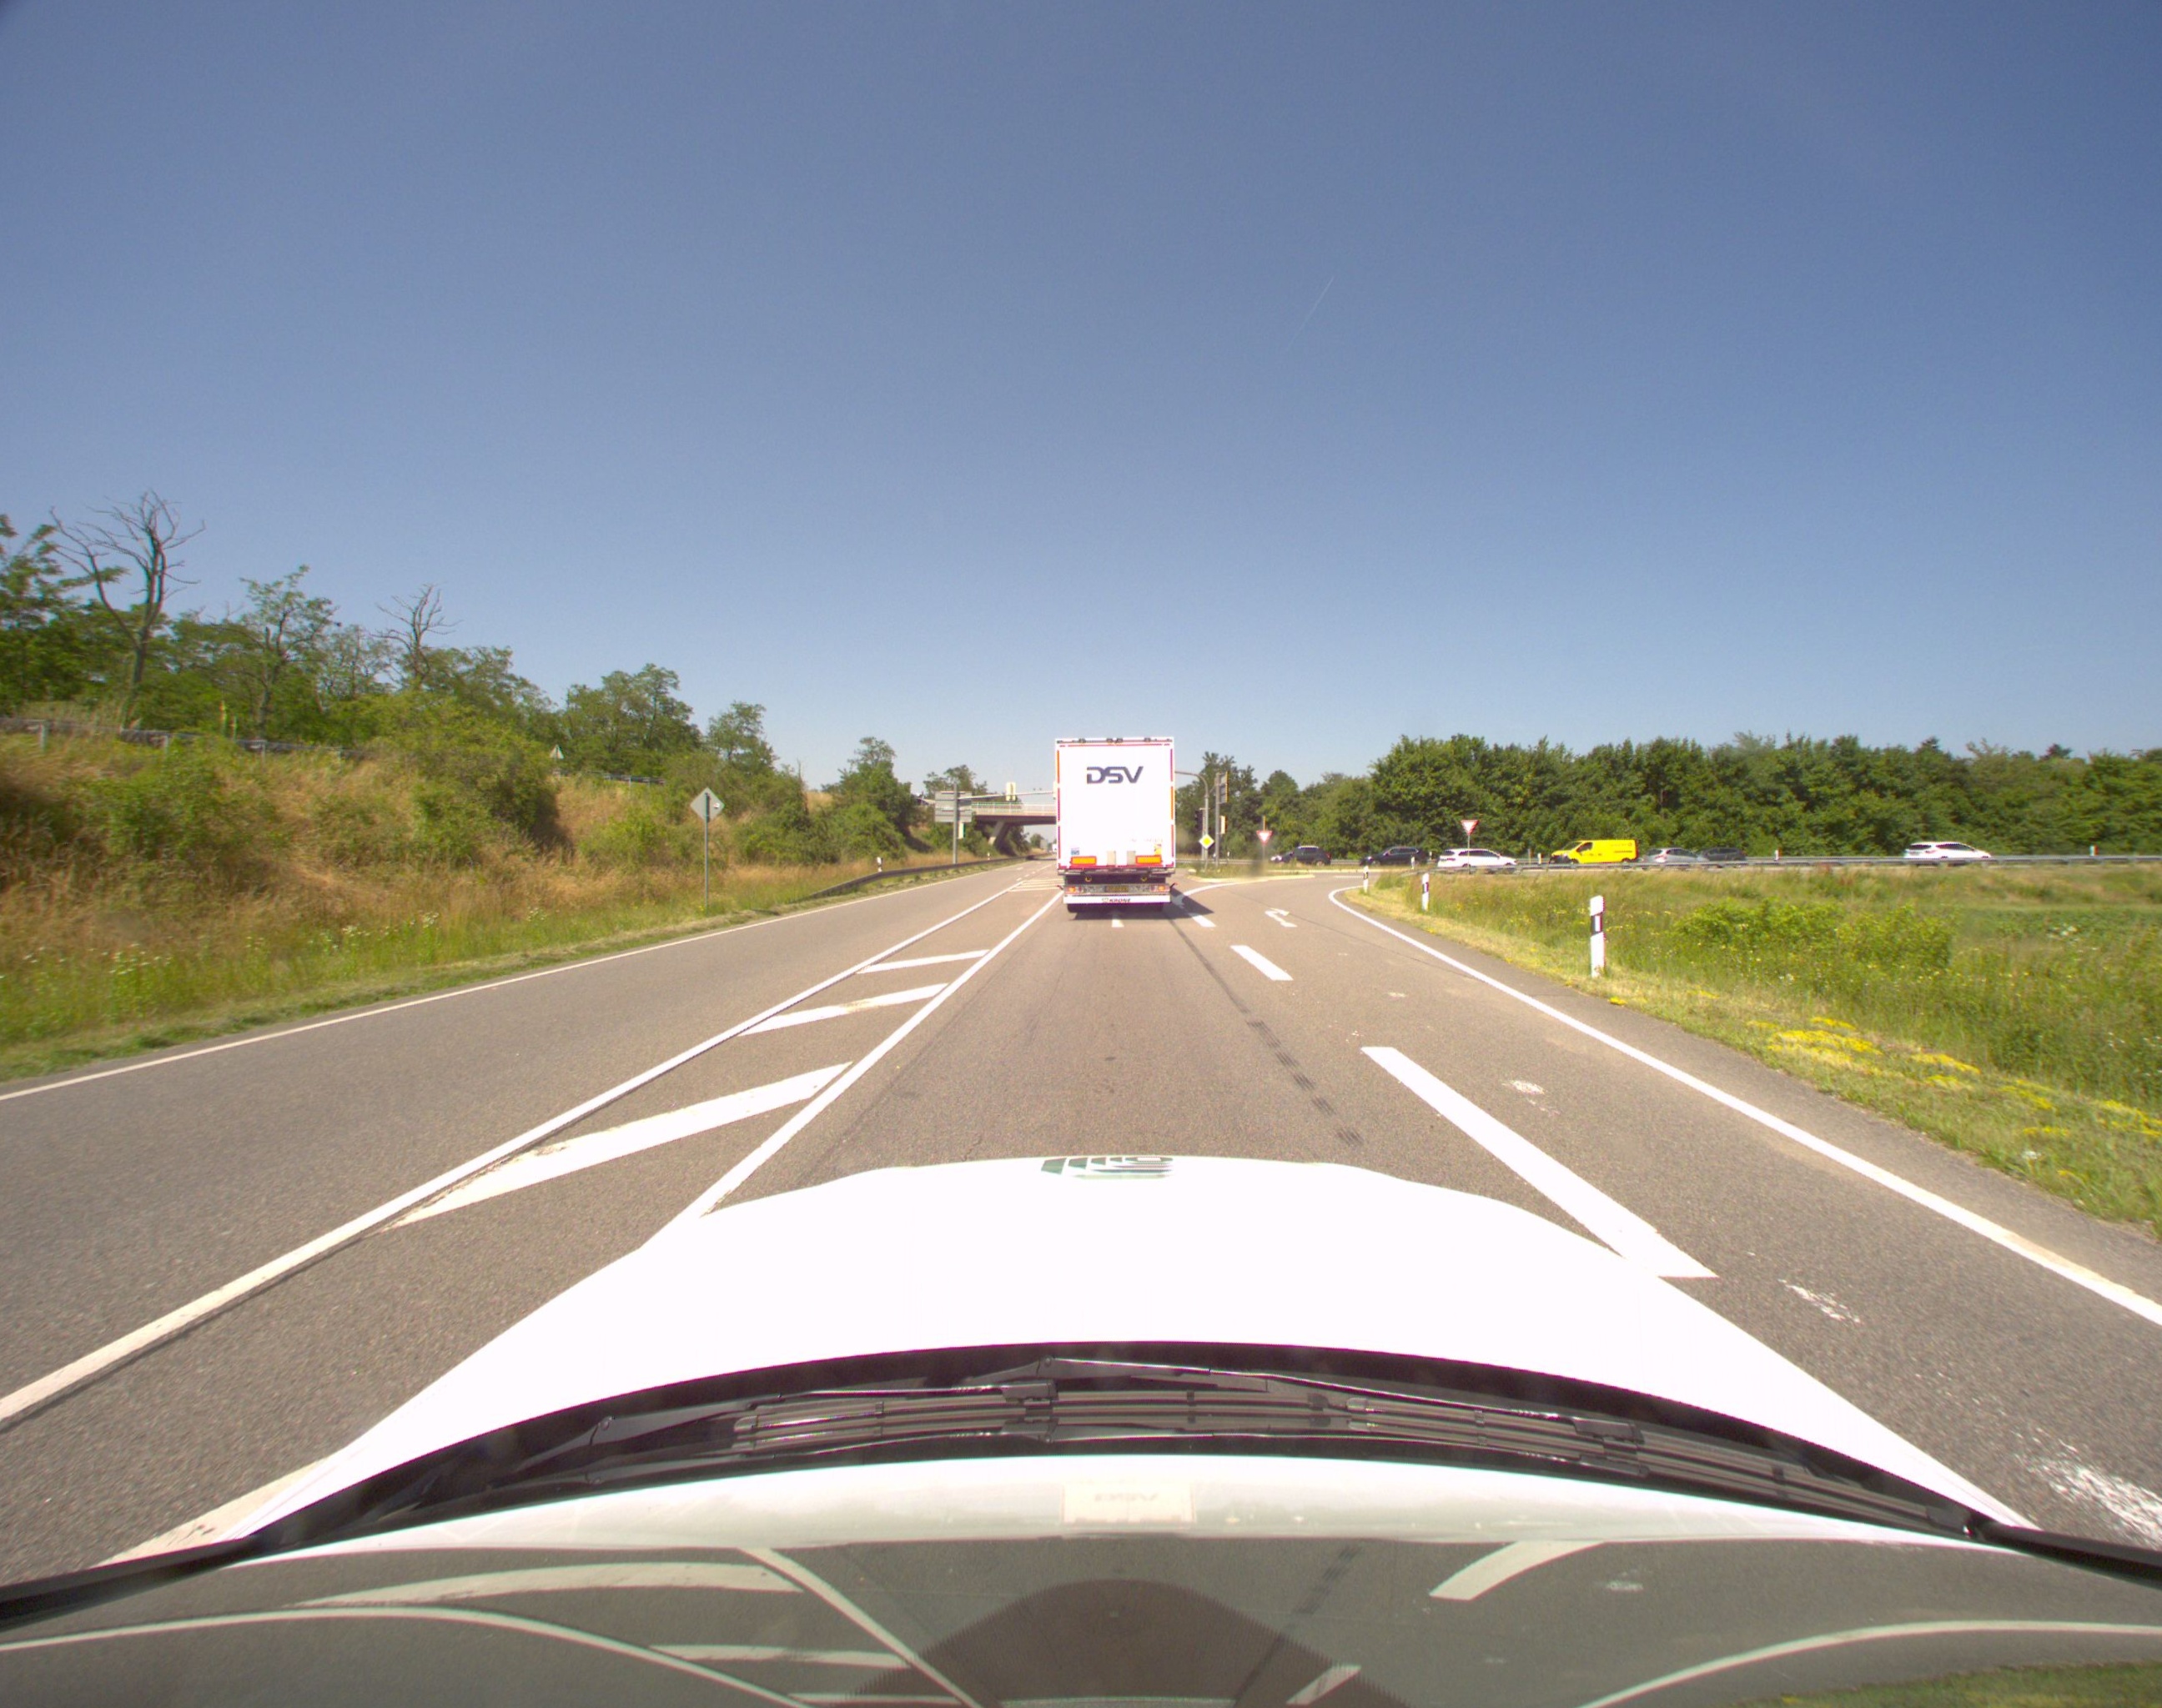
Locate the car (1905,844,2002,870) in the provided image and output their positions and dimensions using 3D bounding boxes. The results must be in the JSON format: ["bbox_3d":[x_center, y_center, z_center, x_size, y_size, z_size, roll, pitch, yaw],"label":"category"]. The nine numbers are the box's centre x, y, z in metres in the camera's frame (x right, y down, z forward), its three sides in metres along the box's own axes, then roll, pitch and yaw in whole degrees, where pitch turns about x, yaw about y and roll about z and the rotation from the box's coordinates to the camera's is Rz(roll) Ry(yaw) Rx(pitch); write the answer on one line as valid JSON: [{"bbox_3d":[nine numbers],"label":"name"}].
[{"bbox_3d":[54.246,0.196,50.677,4.461,1.567,1.736,0,-1,-5],"label":"car"}]

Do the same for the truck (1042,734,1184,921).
[{"bbox_3d":[0.862,-0.543,22.240,2.976,3.942,9.880,-1,0,2],"label":"truck"}]

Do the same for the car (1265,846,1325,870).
[{"bbox_3d":[15.268,0.284,58.312,3.963,1.640,1.845,-1,-1,8],"label":"car"}]

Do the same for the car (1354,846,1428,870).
[{"bbox_3d":[21.292,0.274,56.049,4.465,1.598,1.770,-1,-1,5],"label":"car"}]

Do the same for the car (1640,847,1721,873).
[{"bbox_3d":[36.664,0.359,49.877,3.670,1.567,1.739,0,-1,0],"label":"car"}]

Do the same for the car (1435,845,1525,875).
[{"bbox_3d":[23.313,0.359,47.671,4.462,1.567,1.736,-2,0,-5],"label":"car"}]

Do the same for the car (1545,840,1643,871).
[{"bbox_3d":[34.691,0.125,55.143,5.299,2.014,2.002,-1,-1,3],"label":"car"}]
